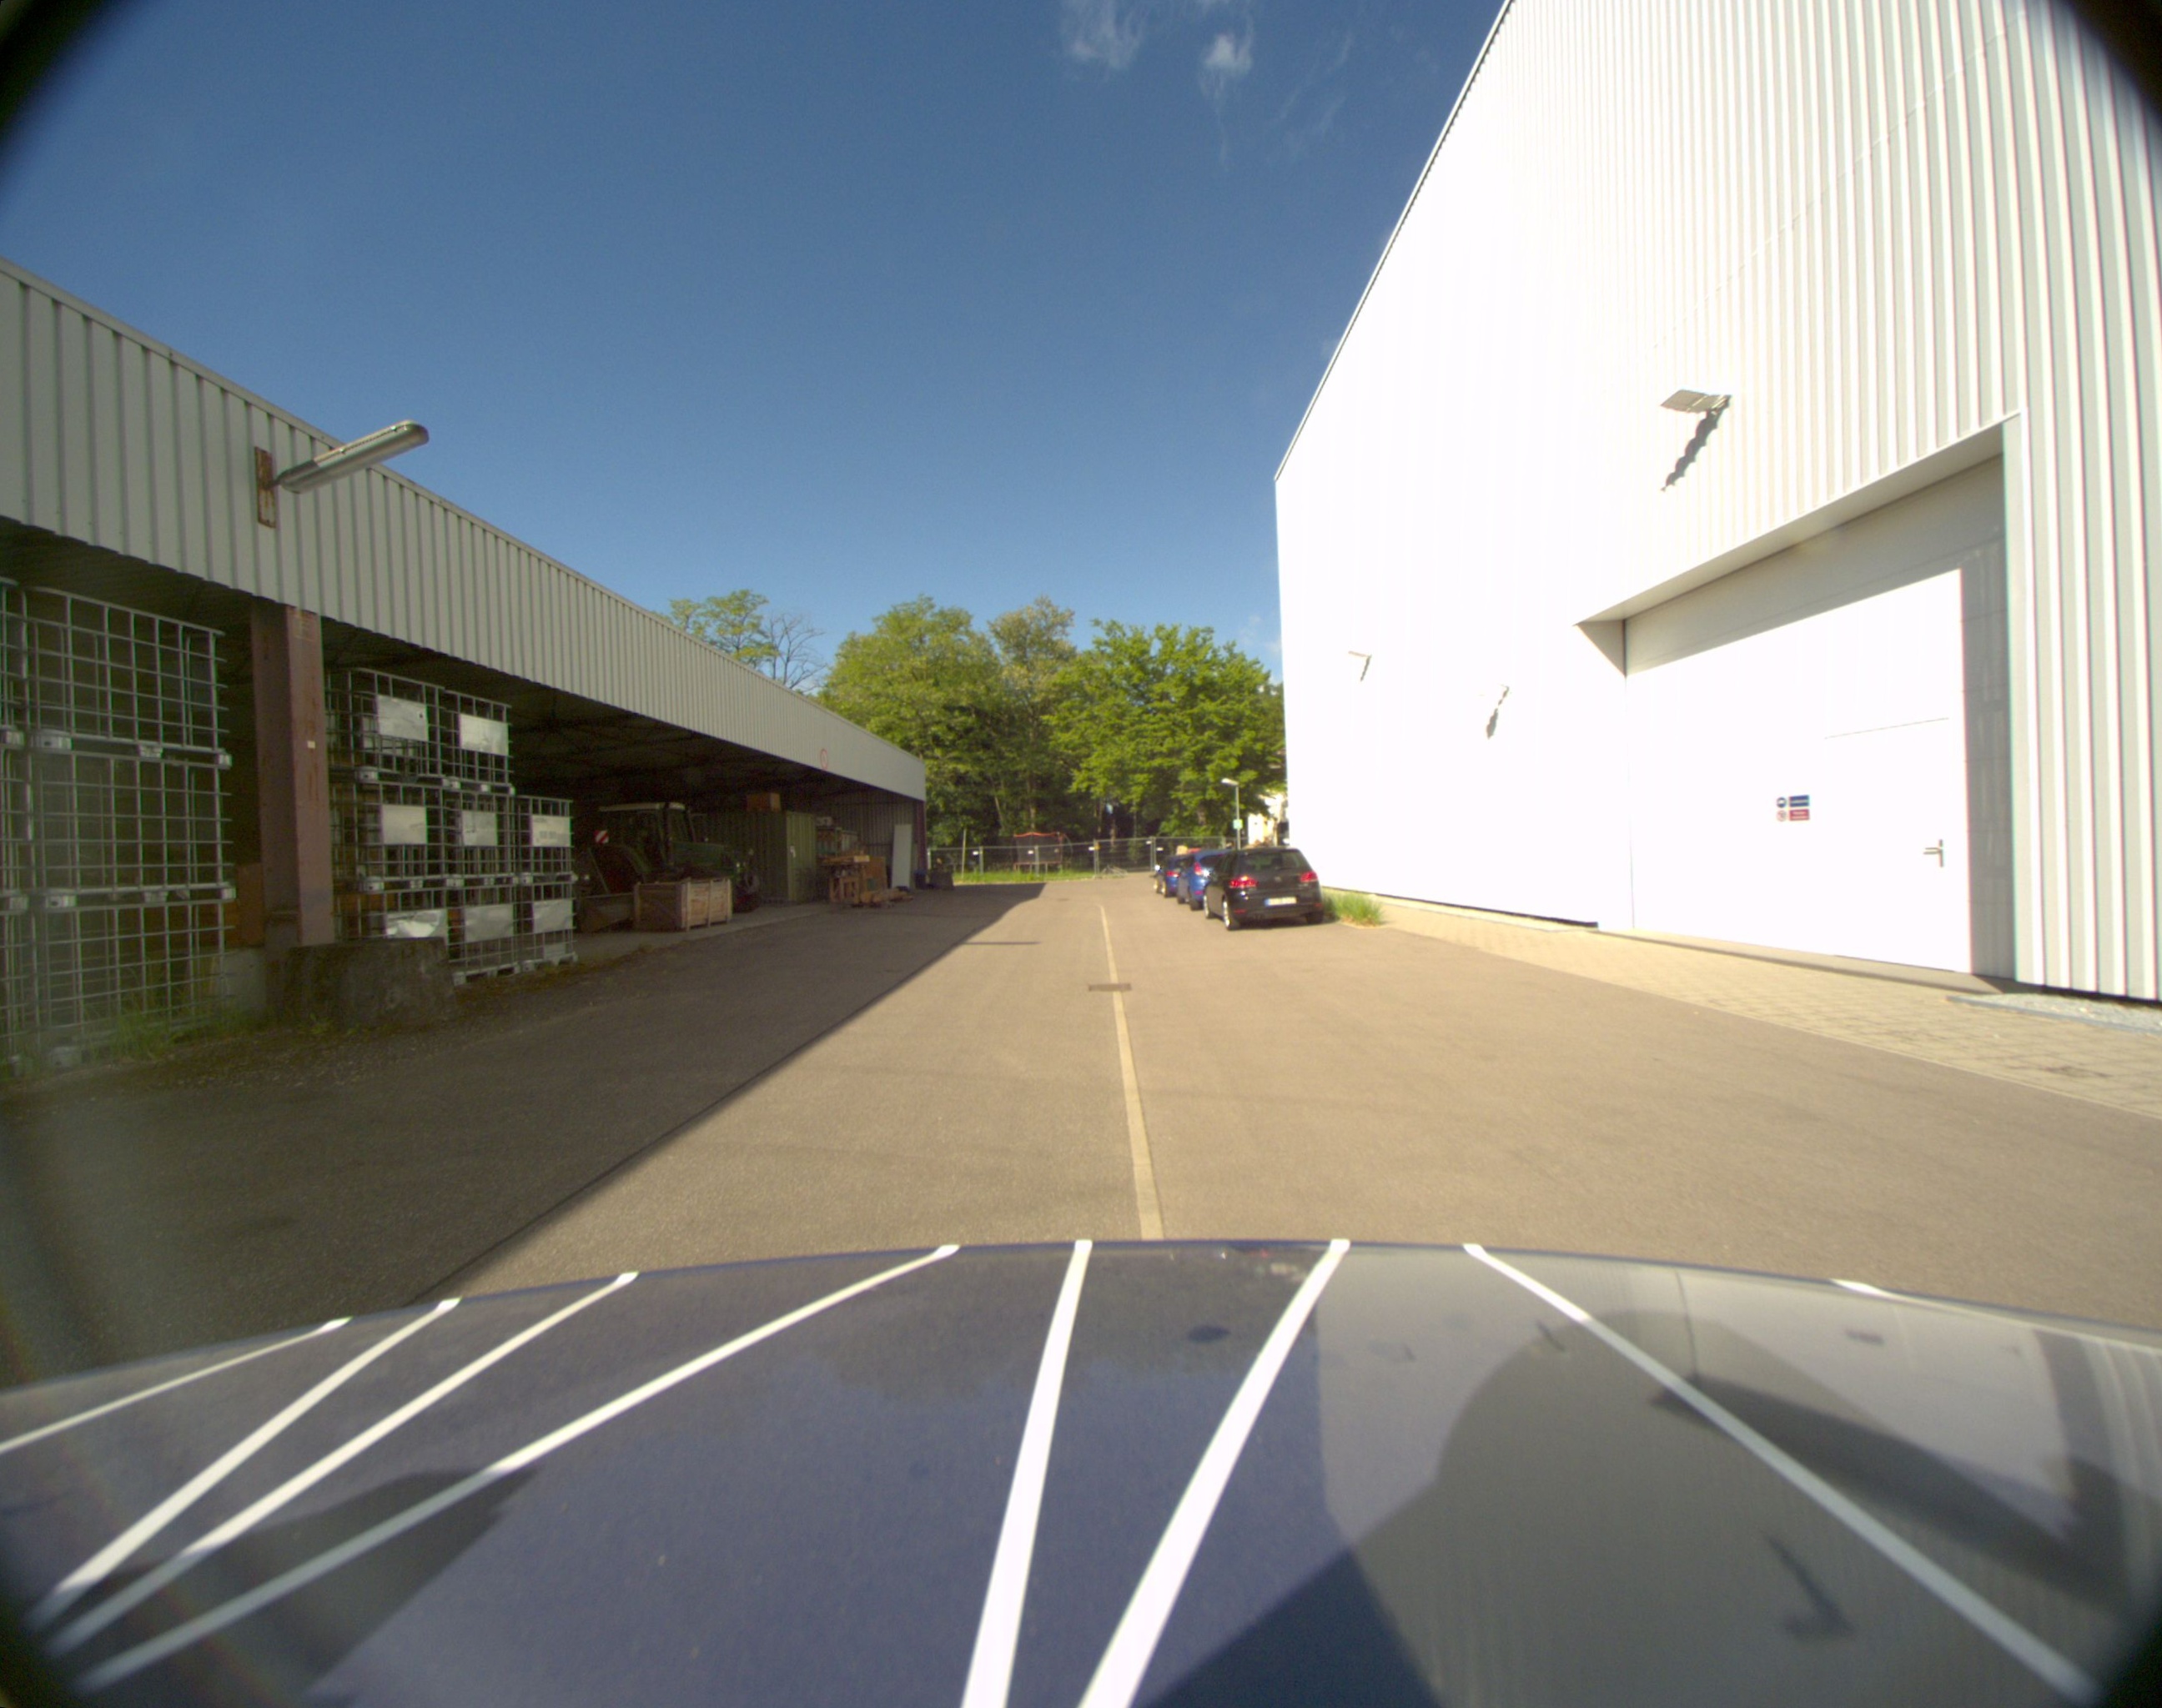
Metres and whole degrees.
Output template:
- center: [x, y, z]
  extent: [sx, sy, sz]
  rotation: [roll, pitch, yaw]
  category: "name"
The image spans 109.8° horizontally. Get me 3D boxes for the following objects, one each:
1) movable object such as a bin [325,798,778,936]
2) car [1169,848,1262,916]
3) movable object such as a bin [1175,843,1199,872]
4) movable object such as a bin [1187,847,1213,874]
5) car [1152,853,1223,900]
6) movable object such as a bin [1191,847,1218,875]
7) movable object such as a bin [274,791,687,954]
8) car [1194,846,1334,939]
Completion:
- center: [-12.983, 0.301, 19.277]
  extent: [9.214, 2.893, 3.212]
  rotation: [-2, 1, 2]
  category: "movable object such as a bin"
- center: [3.441, 0.665, 20.104]
  extent: [1.635, 1.491, 4.094]
  rotation: [-5, 0, 0]
  category: "car"
- center: [6.174, 0.201, 44.232]
  extent: [1.093, 1.588, 1.230]
  rotation: [-3, 3, -5]
  category: "movable object such as a bin"
- center: [6.630, 0.341, 42.332]
  extent: [1.093, 1.431, 1.230]
  rotation: [-4, 2, -5]
  category: "movable object such as a bin"
- center: [3.479, 0.687, 25.552]
  extent: [1.778, 1.353, 4.053]
  rotation: [-3, 0, 0]
  category: "car"
- center: [6.653, 0.384, 40.999]
  extent: [1.093, 1.424, 1.230]
  rotation: [-4, 2, -5]
  category: "movable object such as a bin"
- center: [-12.223, 0.362, 15.962]
  extent: [6.200, 2.893, 3.016]
  rotation: [-2, 1, 2]
  category: "movable object such as a bin"
- center: [3.465, 0.648, 15.207]
  extent: [1.759, 1.491, 4.294]
  rotation: [-4, 0, 1]
  category: "car"
